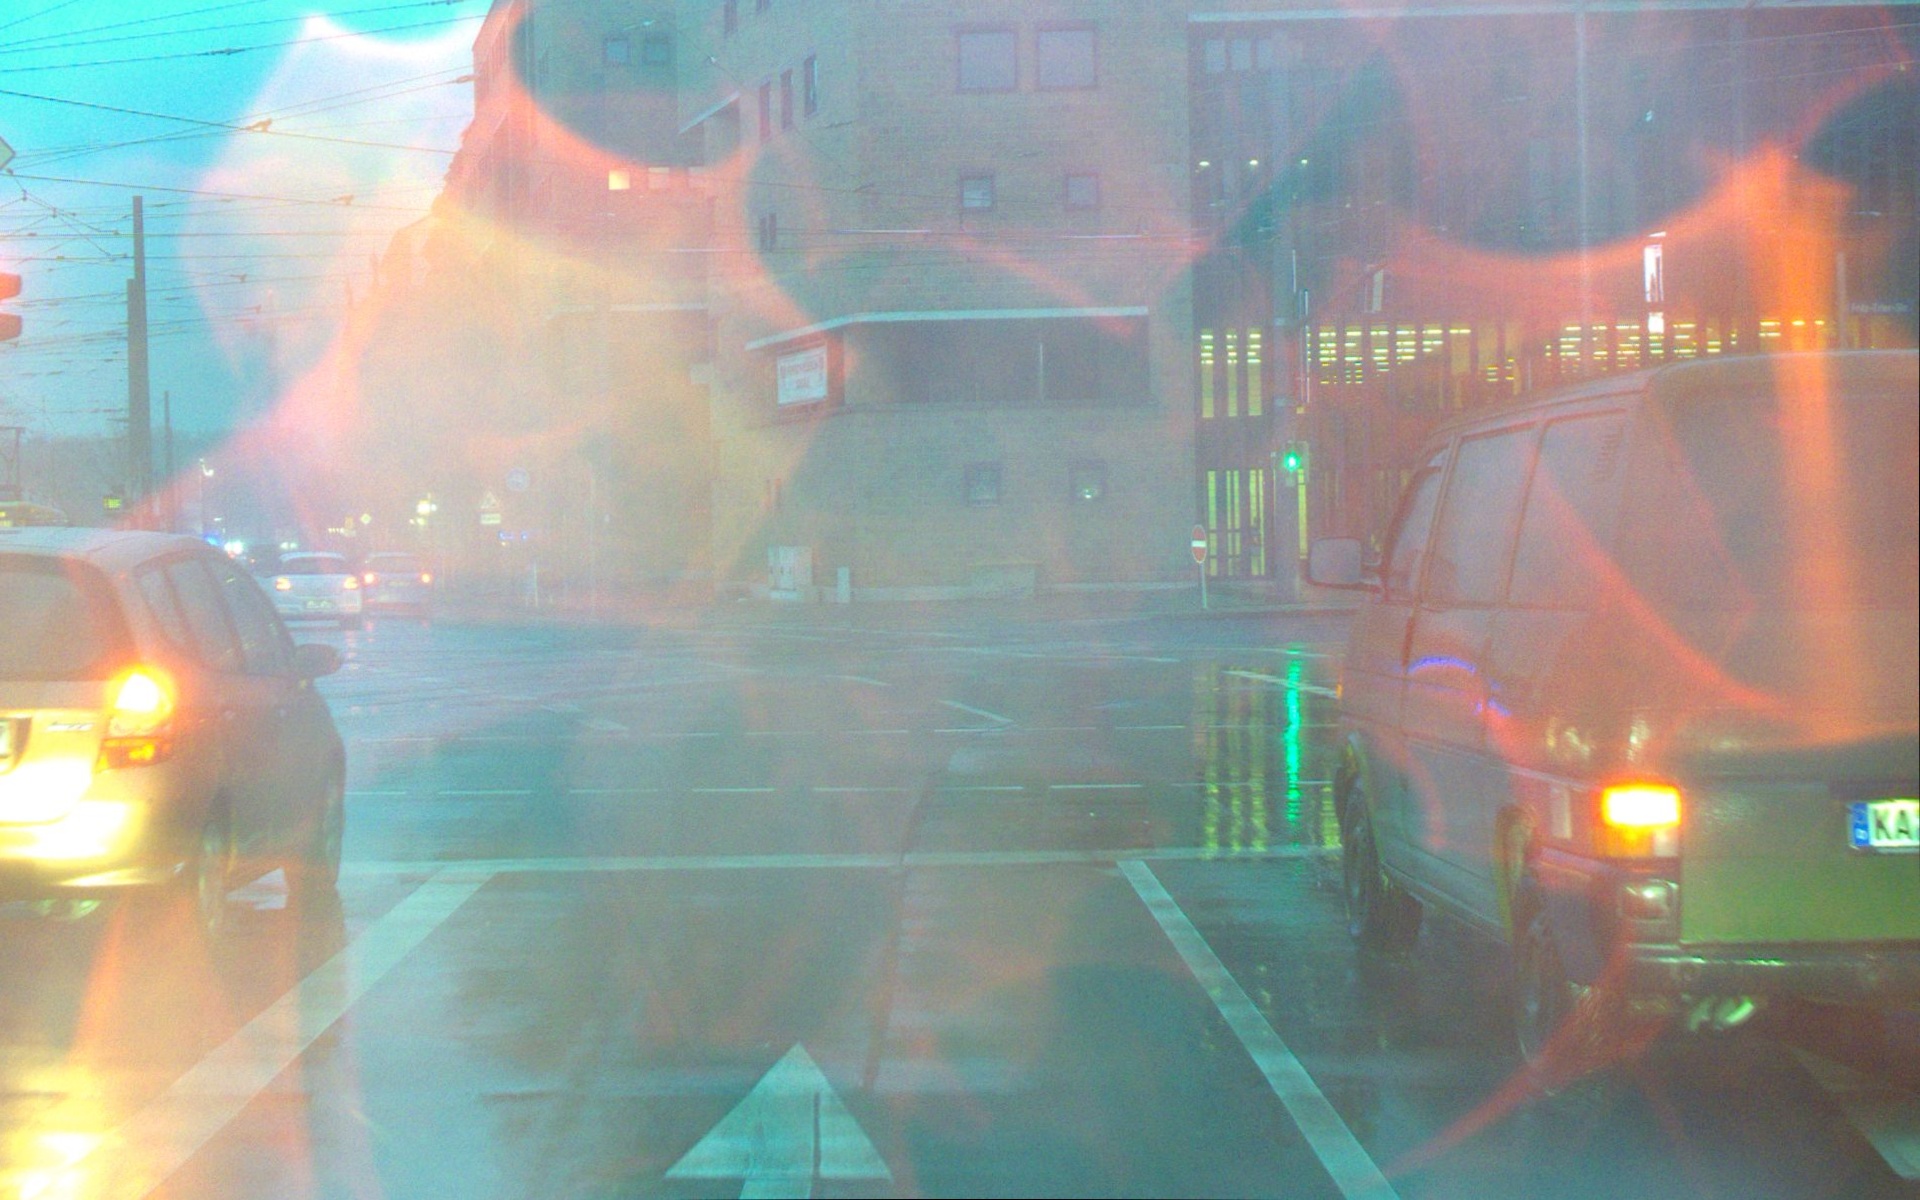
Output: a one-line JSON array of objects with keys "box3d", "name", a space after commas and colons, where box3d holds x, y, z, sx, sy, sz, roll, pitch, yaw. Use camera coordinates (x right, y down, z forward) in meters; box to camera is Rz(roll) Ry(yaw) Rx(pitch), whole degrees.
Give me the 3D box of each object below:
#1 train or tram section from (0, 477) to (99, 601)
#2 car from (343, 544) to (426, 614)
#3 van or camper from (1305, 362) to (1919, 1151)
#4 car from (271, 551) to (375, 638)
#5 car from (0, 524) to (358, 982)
[{"box3d": [-29.562, -1.883, 108.831, 3.190, 3.424, 27.839, -1, 1, -12], "name": "train or tram section"}, {"box3d": [-13.812, -0.520, 82.462, 1.870, 1.573, 4.001, 1, 1, -10], "name": "car"}, {"box3d": [2.238, 0.333, 10.506, 1.756, 1.900, 4.419, 0, 1, -2], "name": "van or camper"}, {"box3d": [-12.418, -0.123, 66.891, 1.870, 1.573, 4.001, 1, 1, -12], "name": "car"}, {"box3d": [-3.395, 0.465, 12.845, 1.697, 1.454, 3.758, -1, 1, -1], "name": "car"}]
